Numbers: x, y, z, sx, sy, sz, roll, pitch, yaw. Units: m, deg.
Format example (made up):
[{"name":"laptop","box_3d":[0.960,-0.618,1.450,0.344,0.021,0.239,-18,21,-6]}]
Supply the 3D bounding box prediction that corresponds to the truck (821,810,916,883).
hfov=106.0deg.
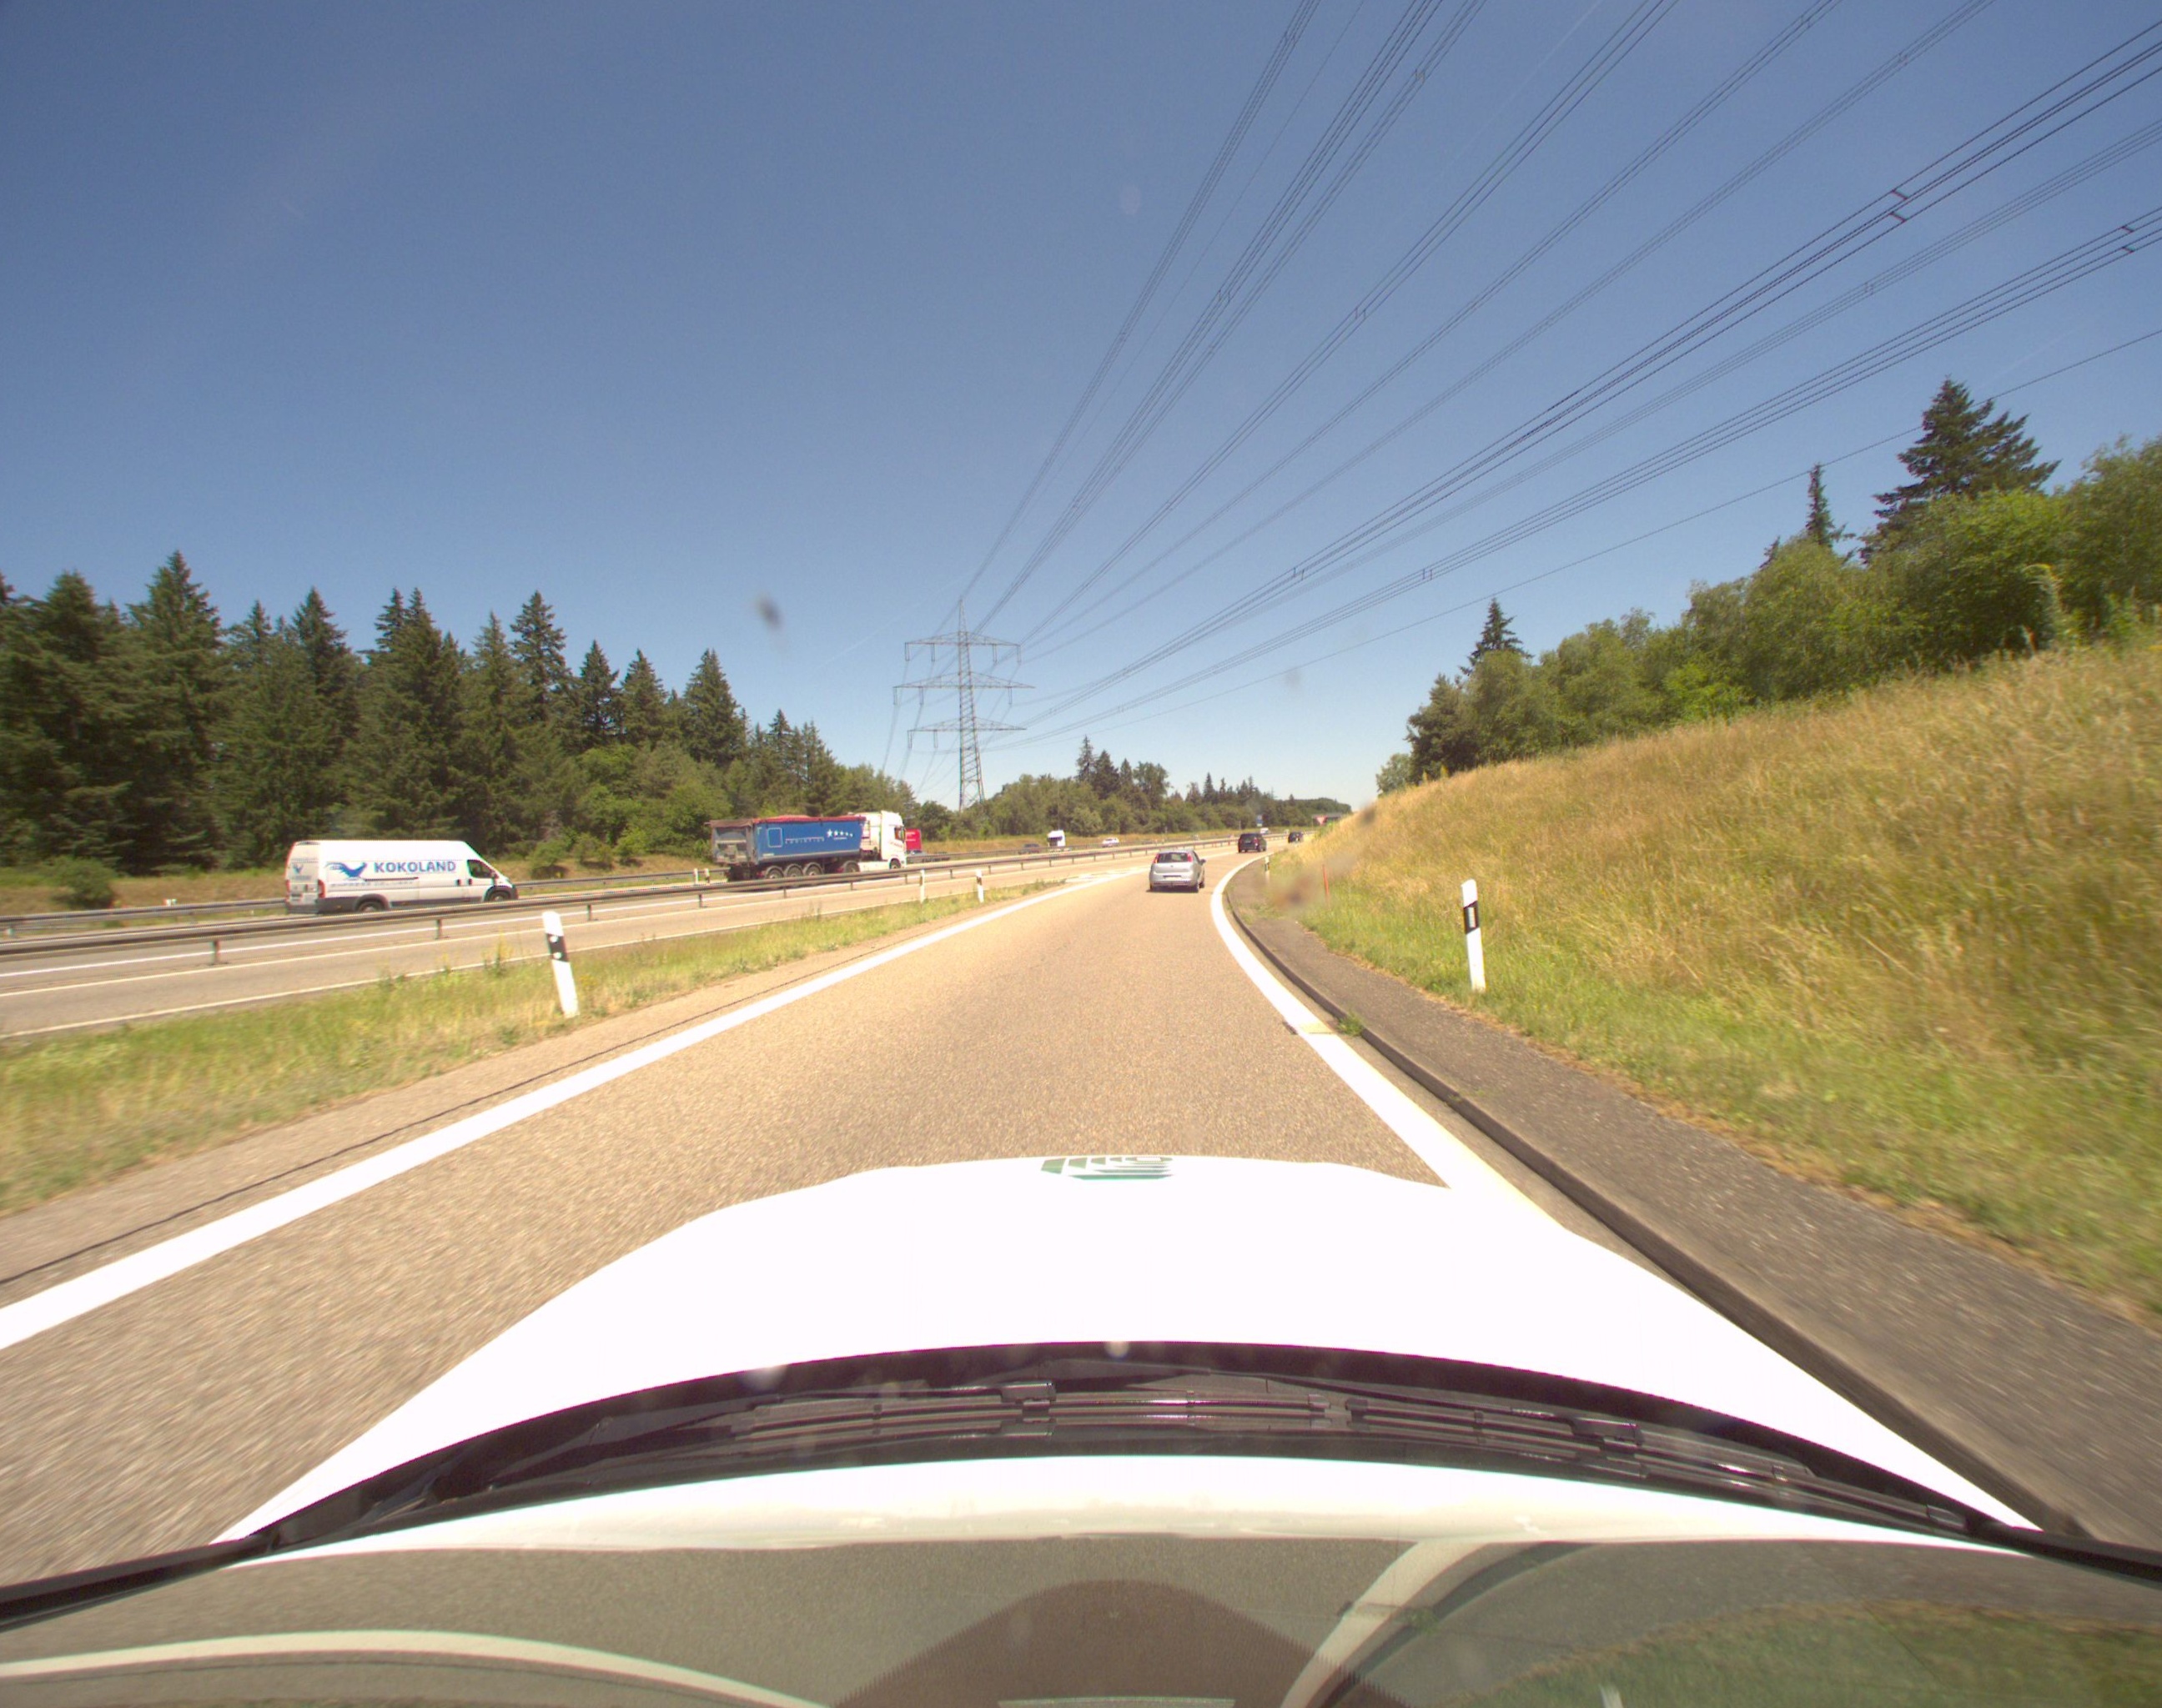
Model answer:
[{"name":"truck","box_3d":[-11.905,-0.460,45.978,2.732,3.807,4.648,-2,1,22]}]

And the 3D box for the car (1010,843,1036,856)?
[{"name":"car","box_3d":[-7.857,-0.672,110.290,1.755,1.684,3.712,-2,0,26]}]

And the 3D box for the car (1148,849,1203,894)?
[{"name":"car","box_3d":[3.391,0.566,28.779,1.695,1.481,3.408,0,1,11]}]

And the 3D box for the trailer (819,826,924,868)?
[{"name":"trailer","box_3d":[-21.879,-0.869,86.586,2.518,3.797,13.822,-2,2,24]}]

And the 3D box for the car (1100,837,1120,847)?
[{"name":"car","box_3d":[4.931,-2.001,139.580,1.756,1.684,4.852,-2,0,23]}]

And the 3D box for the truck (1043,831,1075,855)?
[{"name":"truck","box_3d":[-4.186,-2.140,154.889,2.834,4.345,7.574,-2,0,25]}]

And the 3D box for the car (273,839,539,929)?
[{"name":"car","box_3d":[-23.876,0.943,29.356,2.219,2.832,7.093,-2,0,23]}]

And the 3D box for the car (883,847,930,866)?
[{"name":"car","box_3d":[-16.817,0.235,78.572,1.755,1.684,4.854,-2,0,26]}]

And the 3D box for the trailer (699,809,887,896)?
[{"name":"trailer","box_3d":[-13.997,-0.230,40.885,2.746,3.807,9.940,-2,1,22]}]

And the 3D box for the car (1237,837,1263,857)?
[{"name":"car","box_3d":[14.687,-0.614,70.553,1.692,1.676,3.414,-2,0,20]}]

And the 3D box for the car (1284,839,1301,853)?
[{"name":"car","box_3d":[27.828,-1.079,107.076,1.867,1.683,4.018,-5,0,16]}]
